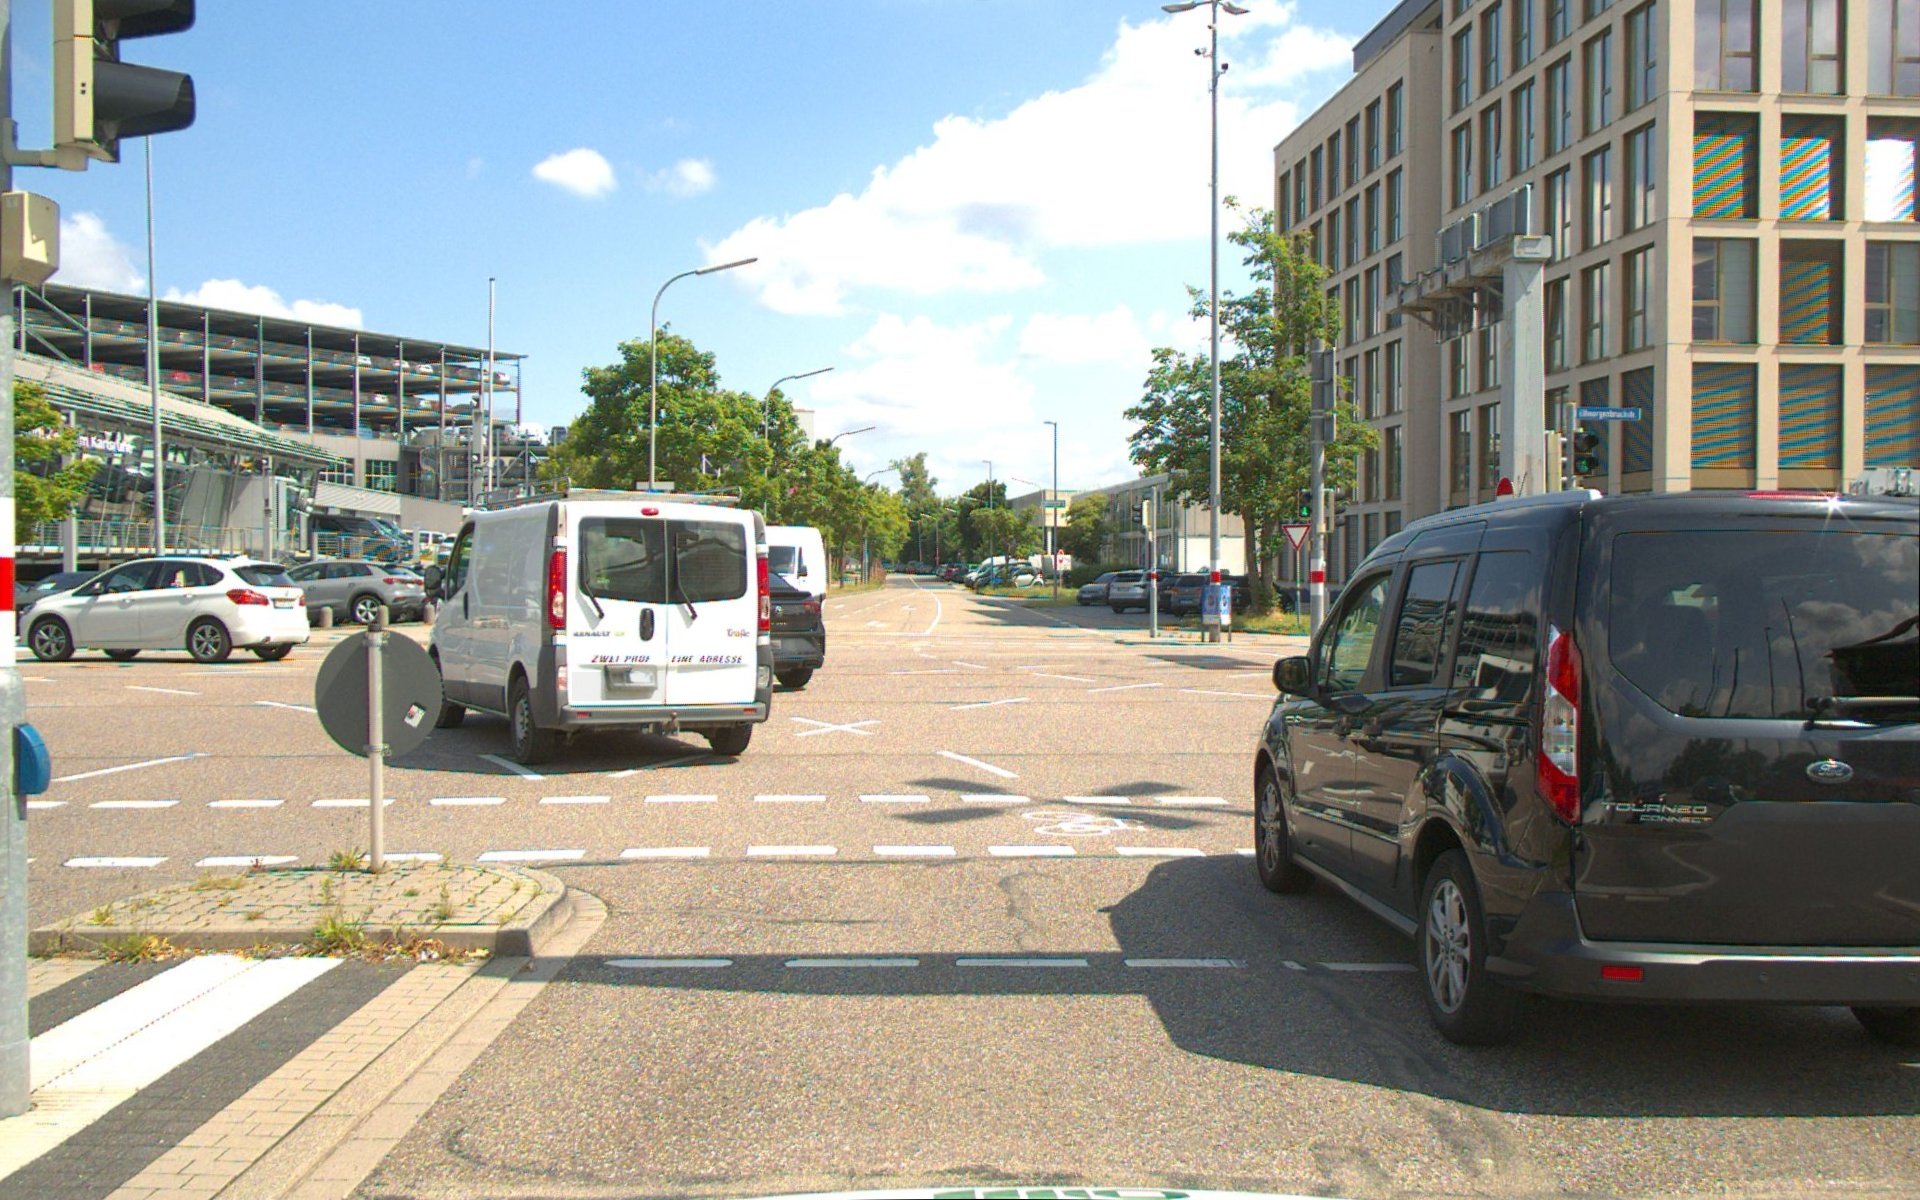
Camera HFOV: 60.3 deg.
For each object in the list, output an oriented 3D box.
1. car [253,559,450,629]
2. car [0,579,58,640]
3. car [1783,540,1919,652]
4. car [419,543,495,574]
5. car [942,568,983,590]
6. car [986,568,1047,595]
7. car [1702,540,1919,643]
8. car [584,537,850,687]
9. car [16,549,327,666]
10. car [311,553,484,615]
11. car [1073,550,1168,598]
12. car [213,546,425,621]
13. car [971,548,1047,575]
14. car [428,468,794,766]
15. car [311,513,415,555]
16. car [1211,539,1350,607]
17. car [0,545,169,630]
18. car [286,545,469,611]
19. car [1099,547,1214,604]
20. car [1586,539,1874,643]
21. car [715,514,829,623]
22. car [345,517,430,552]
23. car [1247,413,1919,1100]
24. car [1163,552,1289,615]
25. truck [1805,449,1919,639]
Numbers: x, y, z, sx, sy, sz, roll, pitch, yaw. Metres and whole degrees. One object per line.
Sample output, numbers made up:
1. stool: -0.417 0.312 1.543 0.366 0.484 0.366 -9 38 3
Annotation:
1. car: -16.070 -0.147 43.848 4.485 1.707 1.905 1 0 -4
2. car: -21.745 0.187 36.178 1.864 1.320 4.584 1 0 -6
3. car: 15.420 -0.023 26.036 4.120 1.655 1.824 1 0 -9
4. car: -27.968 -2.305 92.074 3.918 1.579 1.759 1 0 -13
5. car: 0.221 -2.105 167.790 3.913 2.049 1.996 1 0 -9
6. car: 3.921 -1.269 114.594 3.913 1.780 1.996 1 0 -9
7. car: 15.359 -0.122 28.787 4.120 1.655 1.824 1 0 -9
8. car: -3.084 0.108 20.395 1.758 1.658 3.954 0 1 -33
9. car: -12.047 0.105 25.430 3.903 1.646 1.778 1 0 4
10. car: -16.670 -0.462 49.219 4.485 1.707 1.905 1 0 -4
11. car: 7.287 -1.158 75.156 3.913 2.049 1.996 1 0 -9
12. car: -15.816 -0.394 40.994 4.485 1.707 1.905 1 0 -4
13. car: 4.127 -3.256 139.518 6.214 2.049 2.571 1 0 -3
14. car: -3.148 0.090 14.103 1.950 2.096 4.524 1 1 -27
15. car: -28.736 -3.186 79.655 4.356 1.833 1.762 1 0 -7
16. car: 10.223 -0.846 52.910 3.913 2.049 1.996 1 0 -9
17. car: -19.272 -0.260 36.369 1.864 1.707 4.584 1 0 -6
18. car: -16.411 -0.602 46.782 4.485 1.707 1.905 1 0 -4
19. car: 7.483 -0.927 63.162 3.913 2.049 1.996 1 0 -9
20. car: 15.182 -0.166 32.724 4.883 1.870 1.996 1 0 -9
21. car: -4.952 -0.781 44.589 2.088 2.652 6.865 1 0 1
22. car: -29.308 -3.334 84.752 3.918 1.579 1.759 1 0 -13
23. car: 2.481 0.432 6.708 1.787 1.938 3.998 1 1 -2
24. car: 9.264 -0.560 57.715 3.913 2.049 1.996 1 0 -9
25. truck: 22.437 -0.968 33.640 9.569 3.617 2.670 1 0 -9
